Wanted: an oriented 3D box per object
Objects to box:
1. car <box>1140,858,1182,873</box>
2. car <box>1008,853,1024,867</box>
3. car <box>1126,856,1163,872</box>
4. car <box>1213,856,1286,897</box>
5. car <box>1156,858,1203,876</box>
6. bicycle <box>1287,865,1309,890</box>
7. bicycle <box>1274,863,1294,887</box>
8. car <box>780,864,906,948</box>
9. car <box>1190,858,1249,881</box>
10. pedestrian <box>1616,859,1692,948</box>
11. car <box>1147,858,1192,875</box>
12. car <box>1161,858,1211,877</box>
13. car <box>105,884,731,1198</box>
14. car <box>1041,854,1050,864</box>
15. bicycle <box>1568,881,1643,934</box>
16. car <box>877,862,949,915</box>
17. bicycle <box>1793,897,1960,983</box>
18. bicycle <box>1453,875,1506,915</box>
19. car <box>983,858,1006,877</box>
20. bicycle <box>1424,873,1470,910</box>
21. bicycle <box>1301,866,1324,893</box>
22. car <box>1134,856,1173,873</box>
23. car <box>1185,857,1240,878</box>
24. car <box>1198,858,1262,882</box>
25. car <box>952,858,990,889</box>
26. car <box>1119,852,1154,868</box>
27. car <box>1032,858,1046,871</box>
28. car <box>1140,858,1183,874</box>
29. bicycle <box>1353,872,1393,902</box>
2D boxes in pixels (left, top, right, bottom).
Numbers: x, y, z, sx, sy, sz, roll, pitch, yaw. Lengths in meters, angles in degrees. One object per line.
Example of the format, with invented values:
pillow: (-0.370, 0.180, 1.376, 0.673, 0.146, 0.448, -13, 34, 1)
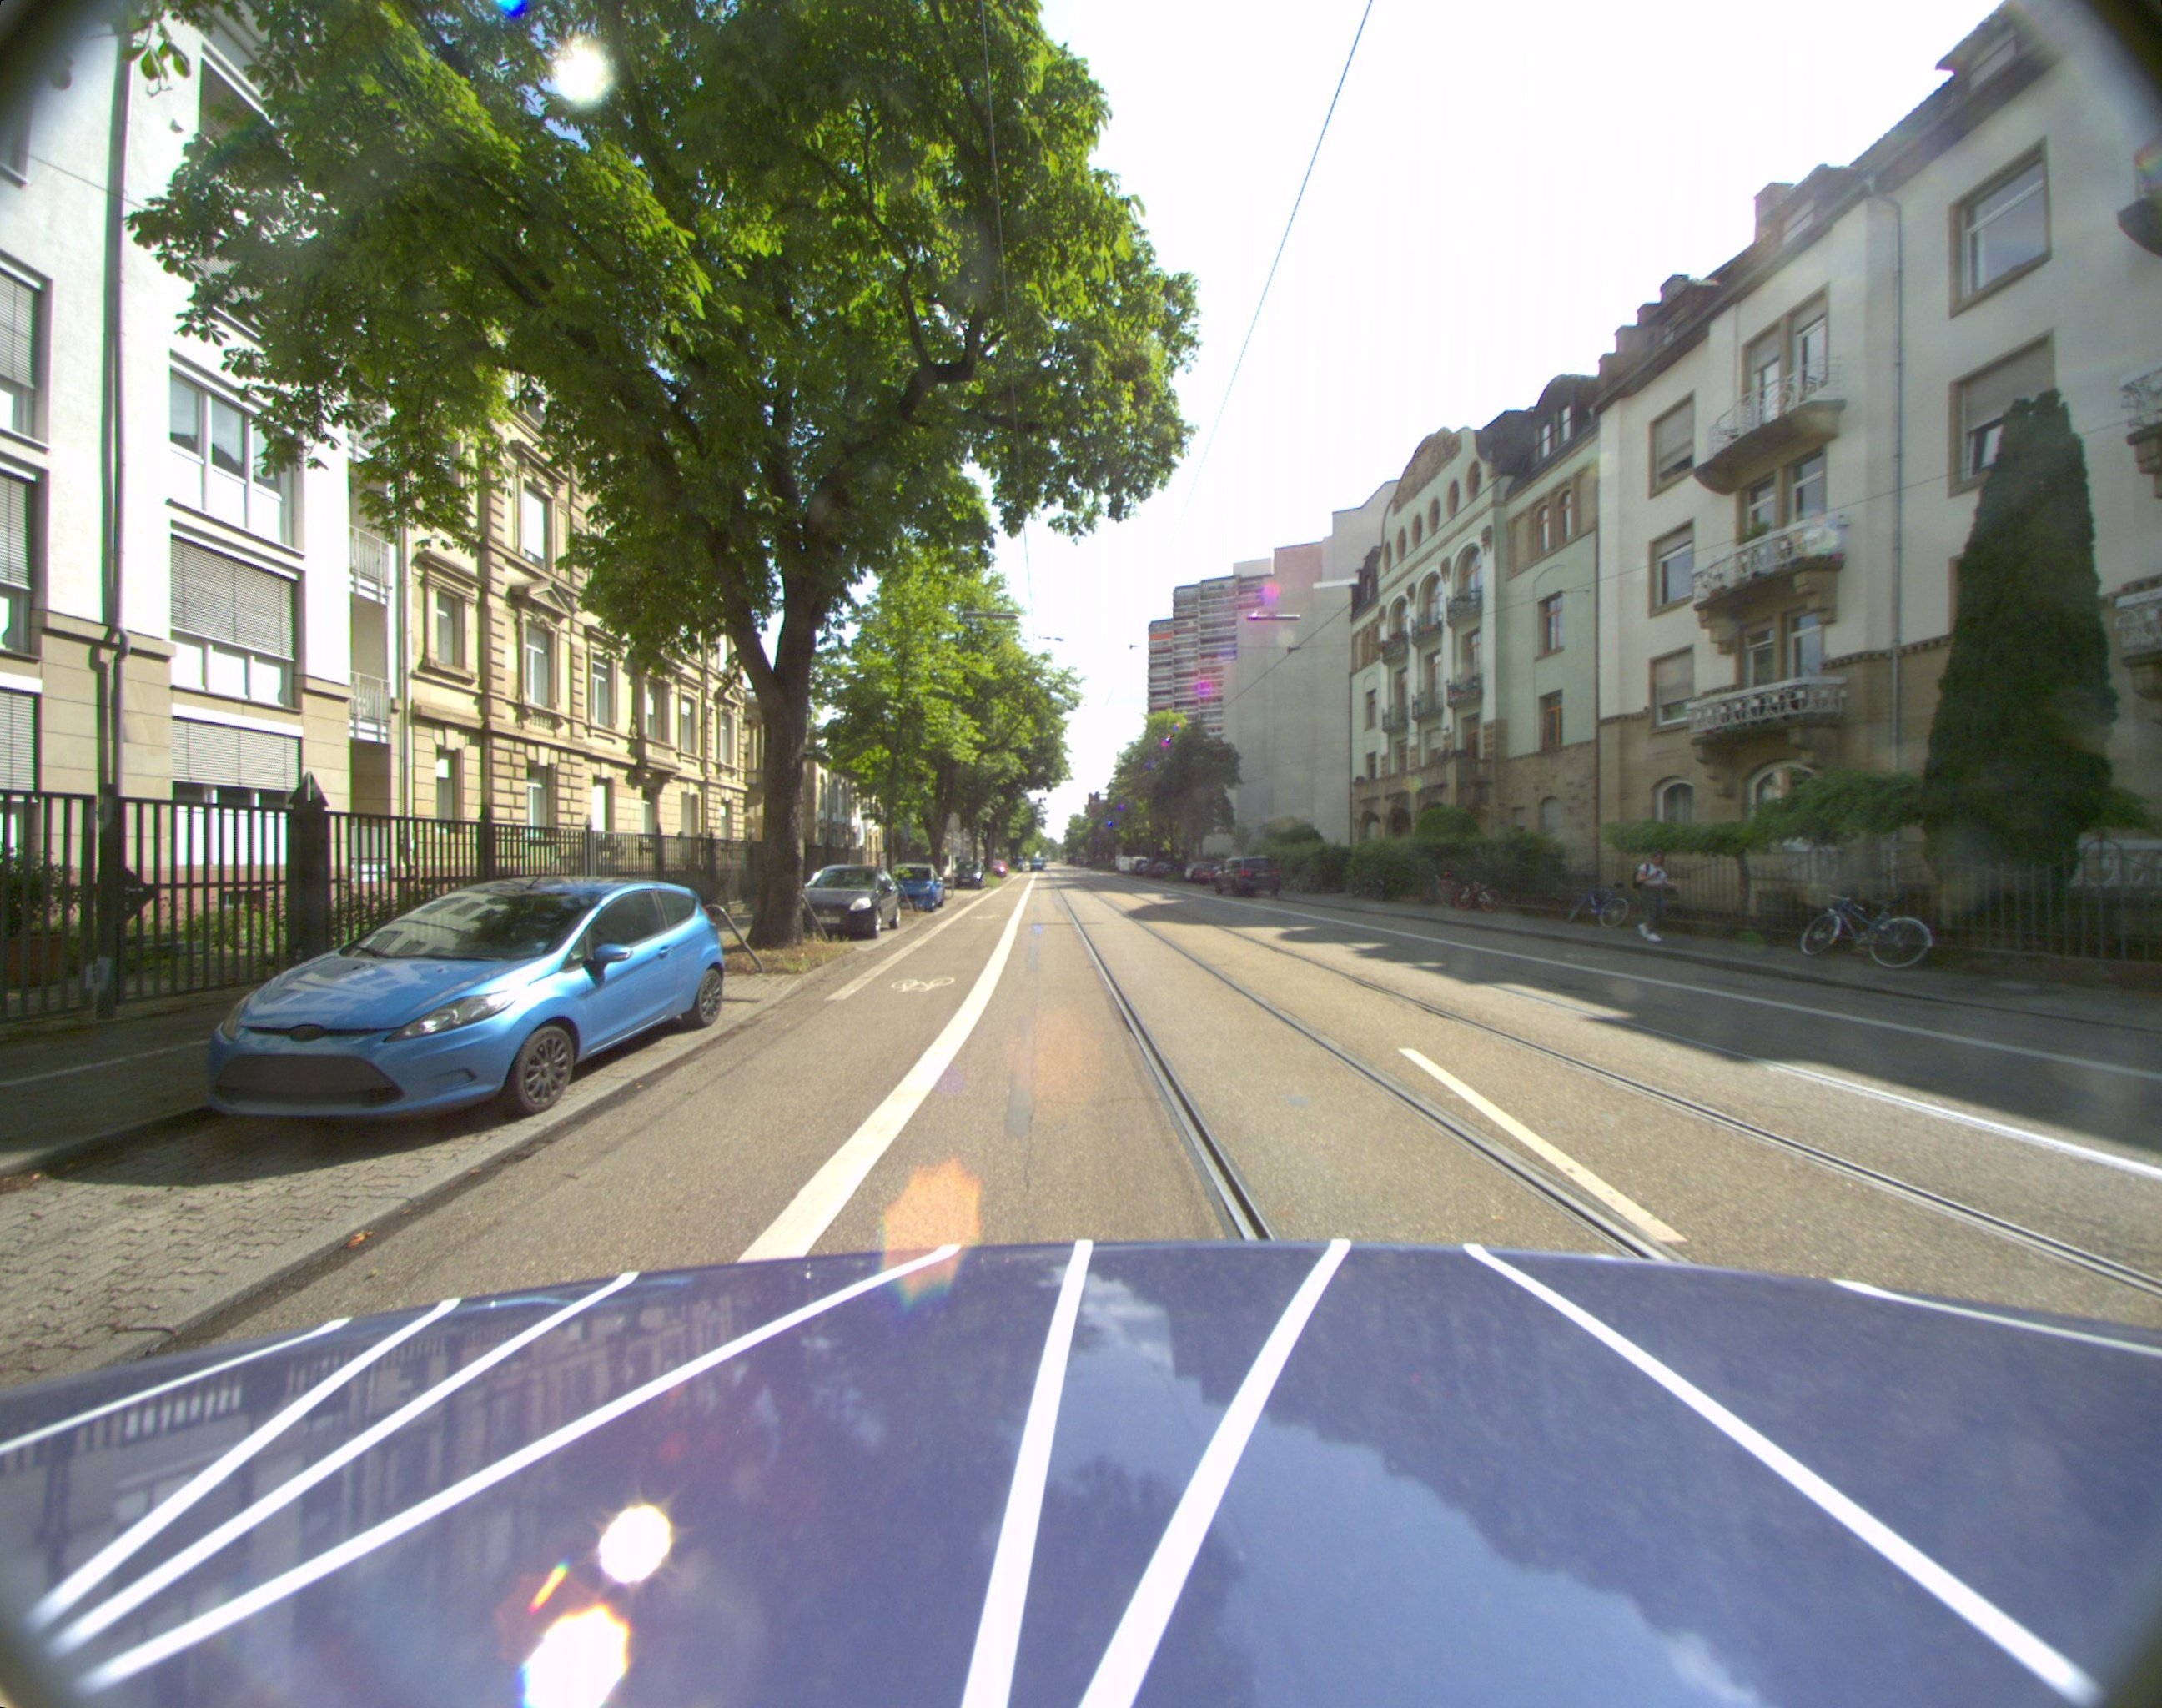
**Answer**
car: (7.941, 1.143, 75.125, 3.994, 1.499, 2.001, 0, 0, 8)
car: (-7.701, 0.732, 90.552, 1.744, 1.564, 3.929, 3, 0, -4)
car: (6.954, 1.059, 83.026, 3.994, 1.672, 2.001, 0, 0, 8)
car: (7.302, 0.927, 33.411, 1.922, 1.685, 4.400, 0, 0, -5)
car: (8.502, 1.116, 65.635, 3.994, 1.499, 2.001, 0, 0, 8)
bicycle: (10.126, 1.077, 35.488, 0.468, 1.128, 1.787, 0, 0, -1)
bicycle: (10.029, 1.036, 37.585, 0.468, 1.128, 1.787, 0, 0, -1)
car: (-4.895, 1.015, 16.124, 1.679, 1.467, 3.659, 3, 0, -4)
car: (9.587, 1.061, 52.880, 3.994, 1.499, 2.001, 0, 0, 8)
pedestrian: (10.162, 0.853, 13.492, 0.759, 1.532, 0.765, 0, 0, -2)
car: (8.009, 1.160, 68.754, 3.994, 1.499, 2.001, 0, 0, 8)
car: (8.595, 1.097, 62.479, 3.994, 1.499, 2.001, 0, 0, 8)
car: (-4.315, 1.064, 5.824, 1.647, 1.467, 3.660, 3, 0, -3)
car: (-8.818, 1.199, 190.672, 2.146, 2.568, 4.817, 0, 0, -2)
bicycle: (10.971, 1.092, 15.963, 0.467, 0.990, 1.787, 0, 0, 5)
car: (-5.292, 1.050, 24.339, 1.679, 1.467, 3.659, 3, 0, -4)
bicycle: (11.111, 1.155, 10.718, 0.467, 0.990, 1.979, 0, 0, 7)
bicycle: (10.688, 1.088, 20.448, 0.468, 0.990, 1.787, 0, 0, -1)
car: (-7.449, 1.141, 65.878, 1.744, 1.564, 3.929, 3, 0, -4)
bicycle: (10.729, 1.086, 22.347, 0.468, 0.990, 1.787, 0, 0, -1)
bicycle: (10.205, 1.094, 33.546, 0.468, 1.128, 1.787, 0, 0, -1)
car: (7.529, 1.069, 78.599, 3.994, 1.672, 2.001, 0, 0, 8)
car: (9.728, 0.984, 56.429, 3.994, 1.499, 2.001, 0, 0, 8)
car: (9.616, 1.045, 49.372, 3.994, 1.499, 2.001, 0, 0, 8)
car: (-6.166, 1.057, 42.918, 1.744, 1.564, 3.659, 3, 0, -4)
car: (6.543, 0.730, 88.862, 1.994, 1.740, 4.008, -1, 1, 41)
car: (-6.189, 1.497, 113.482, 1.974, 1.900, 4.817, 0, 0, -2)
car: (7.608, 1.140, 71.965, 3.994, 1.499, 2.001, 0, 0, 8)
bicycle: (10.147, 1.127, 26.435, 0.605, 0.990, 1.981, 0, 0, -1)
